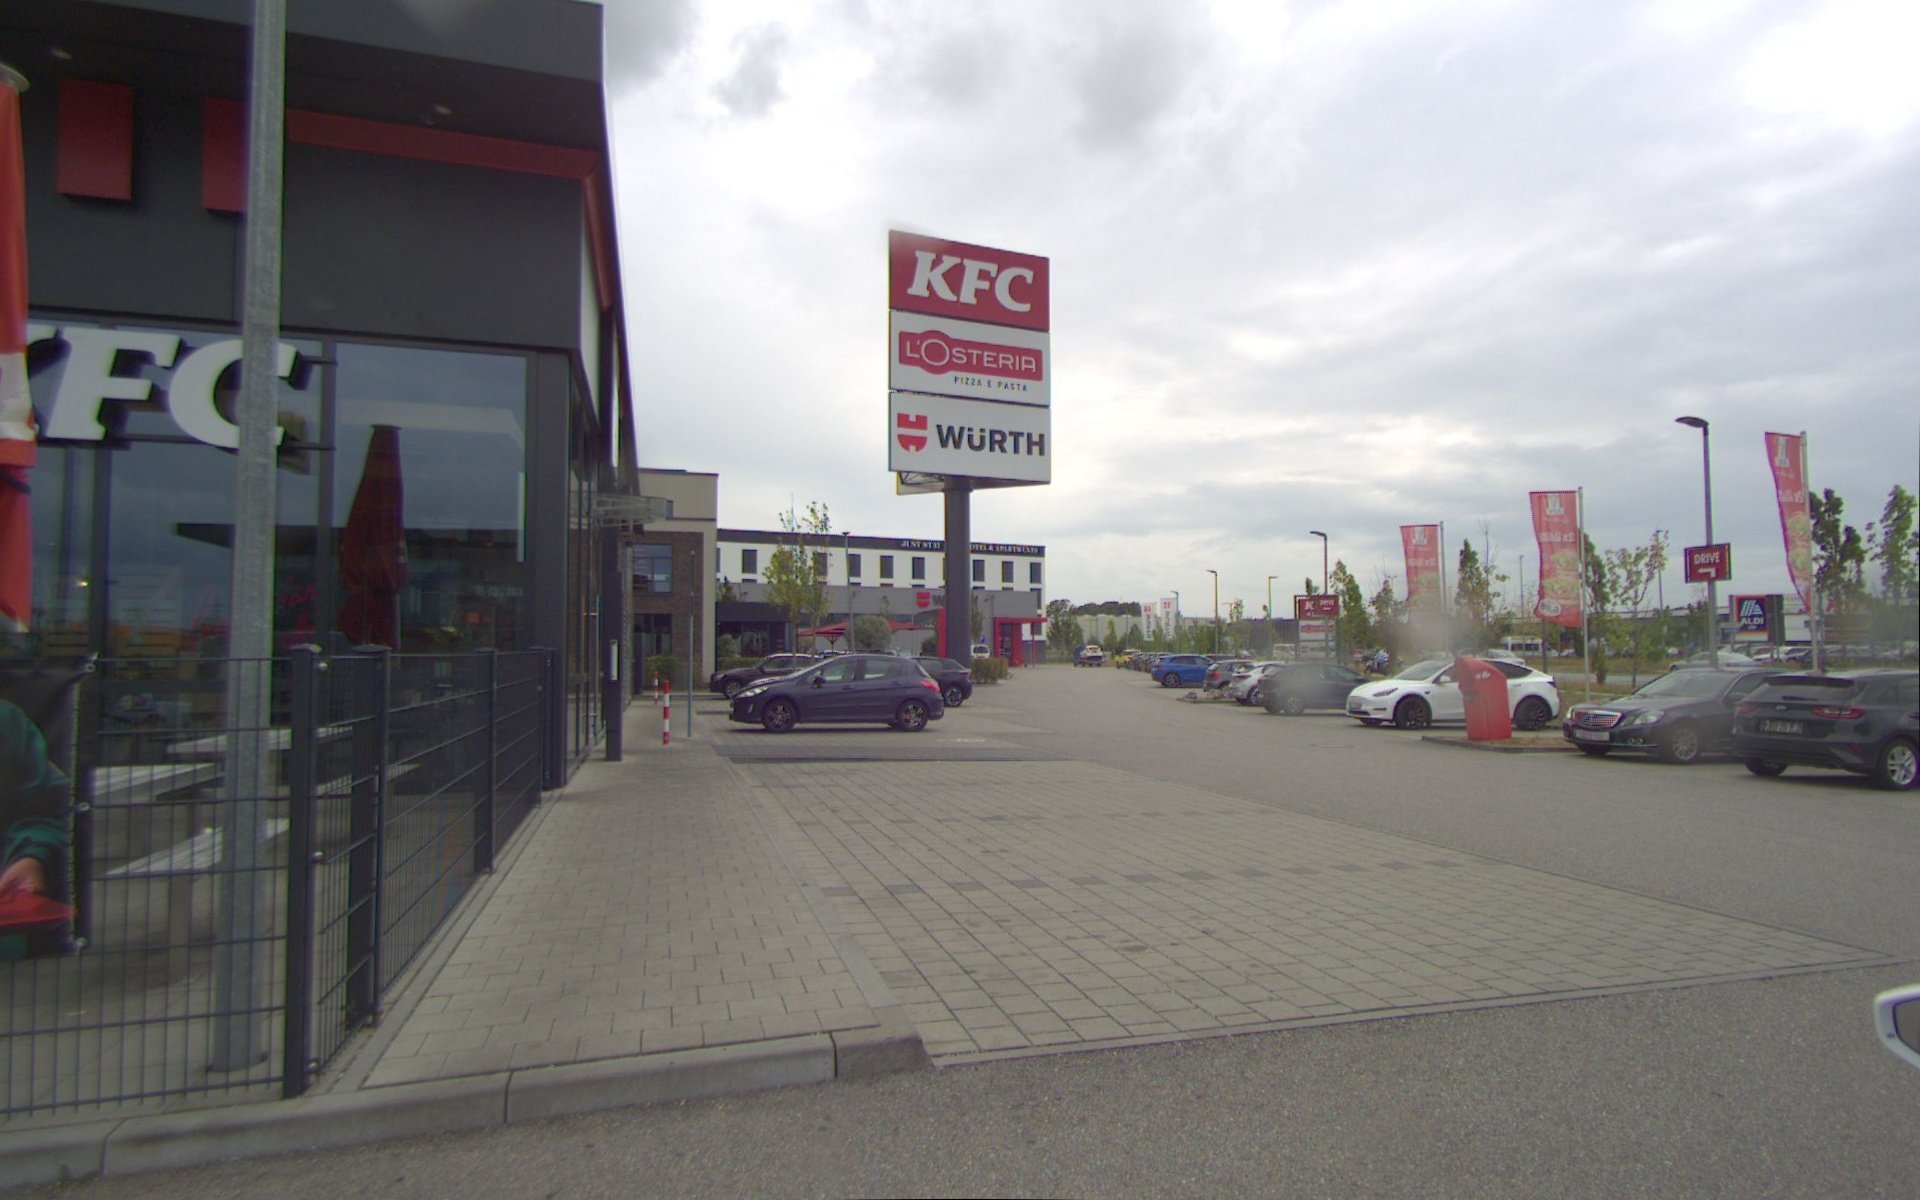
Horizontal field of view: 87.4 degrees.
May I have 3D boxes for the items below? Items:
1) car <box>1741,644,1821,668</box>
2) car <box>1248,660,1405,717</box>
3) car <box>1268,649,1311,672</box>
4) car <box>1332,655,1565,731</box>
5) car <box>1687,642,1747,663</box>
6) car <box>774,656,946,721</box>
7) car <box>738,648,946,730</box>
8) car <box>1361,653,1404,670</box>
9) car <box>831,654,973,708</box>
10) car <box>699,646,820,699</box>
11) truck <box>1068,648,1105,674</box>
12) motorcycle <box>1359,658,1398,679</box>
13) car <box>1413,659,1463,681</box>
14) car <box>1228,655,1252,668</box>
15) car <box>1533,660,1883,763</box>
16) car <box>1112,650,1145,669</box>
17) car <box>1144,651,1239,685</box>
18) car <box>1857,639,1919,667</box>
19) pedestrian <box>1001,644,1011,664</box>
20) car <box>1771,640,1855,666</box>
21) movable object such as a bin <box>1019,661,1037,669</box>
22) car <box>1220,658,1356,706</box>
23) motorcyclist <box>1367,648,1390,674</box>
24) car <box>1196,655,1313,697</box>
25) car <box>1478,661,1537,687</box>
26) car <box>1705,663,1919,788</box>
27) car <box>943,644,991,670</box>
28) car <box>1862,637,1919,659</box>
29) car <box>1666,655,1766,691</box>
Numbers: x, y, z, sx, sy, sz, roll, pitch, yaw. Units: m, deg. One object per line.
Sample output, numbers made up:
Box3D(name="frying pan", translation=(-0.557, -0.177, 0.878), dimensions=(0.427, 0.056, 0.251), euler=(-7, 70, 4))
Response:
Box3D(name="car", translation=(57.467, 3.949, 70.333), dimensions=(3.994, 1.521, 1.865), euler=(-2, -3, -1))
Box3D(name="car", translation=(10.188, 2.449, 28.058), dimensions=(3.735, 1.430, 1.738), euler=(2, -3, -4))
Box3D(name="car", translation=(32.311, 5.905, 98.602), dimensions=(1.963, 2.113, 5.226), euler=(-1, -2, -7))
Box3D(name="car", translation=(11.120, 2.112, 23.031), dimensions=(4.461, 1.561, 1.924), euler=(2, -3, -6))
Box3D(name="car", translation=(71.779, 4.978, 95.312), dimensions=(1.968, 1.861, 4.173), euler=(-1, -3, -17))
Box3D(name="car", translation=(-2.584, 2.210, 25.678), dimensions=(4.111, 1.505, 1.994), euler=(1, -2, -16))
Box3D(name="car", translation=(-2.384, 1.756, 20.043), dimensions=(3.875, 1.506, 1.753), euler=(2, -3, -16))
Box3D(name="car", translation=(35.121, 5.103, 83.629), dimensions=(1.734, 1.413, 4.220), euler=(0, -3, -1))
Box3D(name="car", translation=(-1.776, 2.466, 30.743), dimensions=(4.056, 1.548, 1.736), euler=(1, -4, -17))
Box3D(name="car", translation=(-6.909, 2.473, 34.580), dimensions=(3.935, 1.616, 1.731), euler=(-1, -3, -17))
Box3D(name="truck", translation=(13.408, 6.582, 106.976), dimensions=(2.295, 2.436, 7.896), euler=(1, -6, -5))
Box3D(name="motorcycle", translation=(24.527, 4.018, 58.902), dimensions=(1.883, 1.224, 0.795), euler=(-1, -3, 2))
Box3D(name="car", translation=(35.240, 5.168, 74.142), dimensions=(1.819, 1.518, 4.287), euler=(-1, -3, 3))
Box3D(name="car", translation=(30.868, 6.781, 110.858), dimensions=(1.438, 1.354, 3.161), euler=(0, -3, -6))
Box3D(name="car", translation=(11.932, 1.764, 16.139), dimensions=(4.659, 1.475, 1.908), euler=(2, -3, -12))
Box3D(name="car", translation=(15.162, 5.373, 90.690), dimensions=(1.828, 1.671, 3.996), euler=(1, -4, -8))
Box3D(name="car", translation=(10.892, 3.199, 47.504), dimensions=(4.131, 1.564, 1.866), euler=(0, -3, 4))
Box3D(name="car", translation=(56.542, 3.179, 60.388), dimensions=(3.692, 1.559, 1.772), euler=(-2, -3, -5))
Box3D(name="pedestrian", translation=(4.332, 5.043, 94.215), dimensions=(0.668, 1.826, 0.877), euler=(1, -3, -19))
Box3D(name="car", translation=(56.878, 3.527, 66.993), dimensions=(3.978, 1.559, 1.999), euler=(-2, -3, -5))
Box3D(name="movable object such as a bin", translation=(6.238, 5.976, 92.118), dimensions=(1.470, 0.713, 0.961), euler=(2, -4, -20))
Box3D(name="car", translation=(10.710, 2.677, 32.984), dimensions=(3.862, 1.430, 1.840), euler=(1, -3, -1))
Box3D(name="motorcyclist", translation=(24.530, 3.595, 58.879), dimensions=(0.922, 1.508, 0.831), euler=(-1, -3, 2))
Box3D(name="car", translation=(11.045, 2.834, 37.802), dimensions=(3.920, 1.447, 1.728), euler=(1, -3, 2))
Box3D(name="car", translation=(34.639, 4.643, 63.677), dimensions=(1.793, 1.478, 4.003), euler=(-2, -3, 5))
Box3D(name="car", translation=(12.242, 1.596, 13.132), dimensions=(4.001, 1.430, 1.884), euler=(2, -3, -13))
Box3D(name="car", translation=(0.520, 4.748, 83.339), dimensions=(2.038, 1.879, 4.029), euler=(-5, -1, -31))
Box3D(name="car", translation=(82.411, 4.245, 88.349), dimensions=(1.965, 1.861, 4.179), euler=(-1, -3, -11))
Box3D(name="car", translation=(36.969, 3.547, 49.287), dimensions=(1.766, 1.572, 4.859), euler=(-2, -3, 9))
